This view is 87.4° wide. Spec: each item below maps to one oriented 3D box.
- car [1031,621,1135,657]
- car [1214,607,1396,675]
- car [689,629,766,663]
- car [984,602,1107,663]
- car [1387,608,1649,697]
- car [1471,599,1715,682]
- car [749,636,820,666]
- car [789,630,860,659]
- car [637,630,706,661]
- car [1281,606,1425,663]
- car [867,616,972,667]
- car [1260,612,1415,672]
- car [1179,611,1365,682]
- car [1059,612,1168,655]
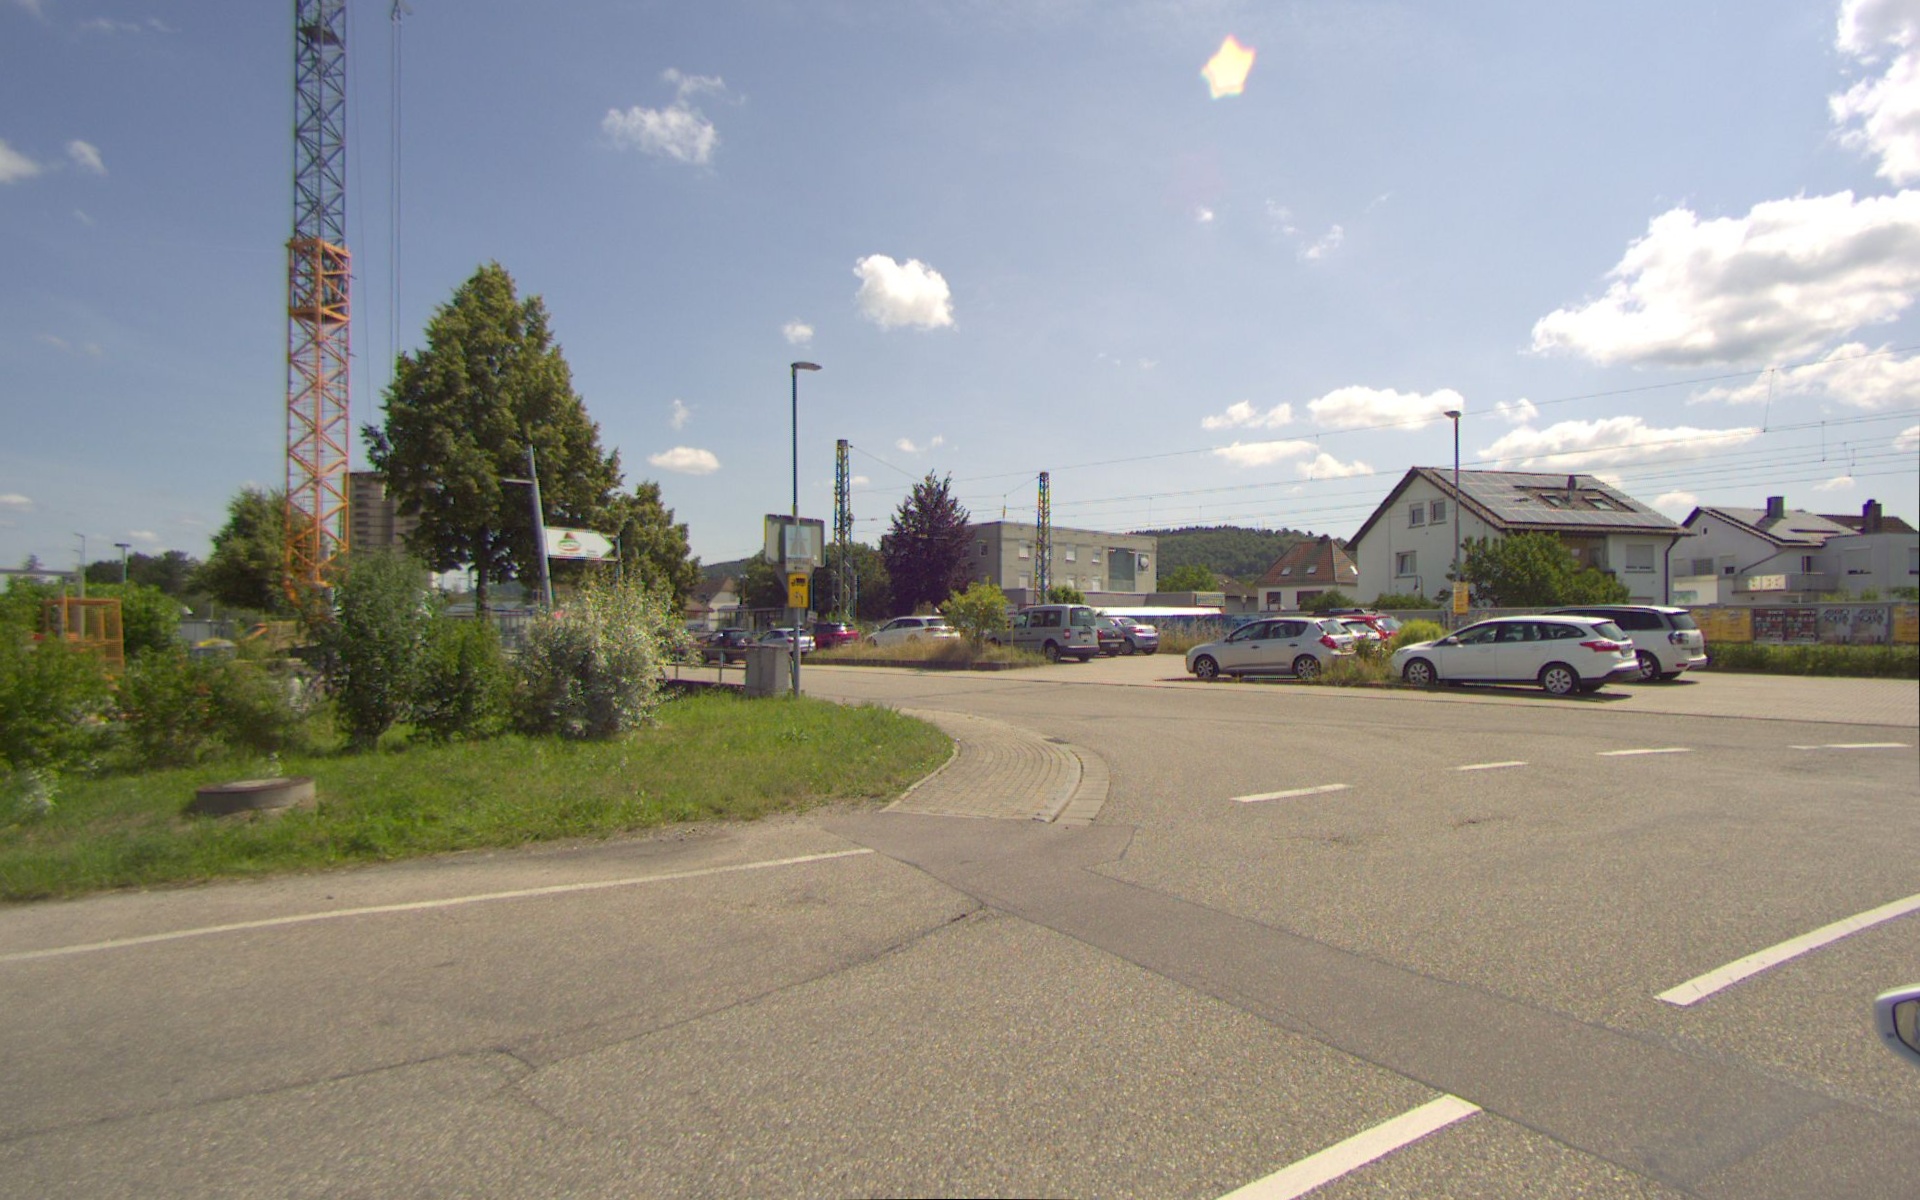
[{"bbox_3d":[4.362,1.367,36.029,1.659,1.238,3.631,1,-2,-39],"label":"car"},{"bbox_3d":[9.050,1.107,26.564,4.118,1.660,1.943,-4,-4,44],"label":"car"},{"bbox_3d":[-10.555,2.034,45.413,1.813,1.477,3.954,1,-2,-40],"label":"car"},{"bbox_3d":[2.807,1.018,33.624,1.890,1.840,3.952,0,1,-41],"label":"car"},{"bbox_3d":[11.125,0.978,20.257,1.813,1.496,4.245,2,0,-41],"label":"car"},{"bbox_3d":[14.606,0.866,23.388,1.982,1.713,4.418,-1,0,-38],"label":"car"},{"bbox_3d":[-8.163,2.332,46.553,1.522,1.331,3.954,1,-2,-40],"label":"car"},{"bbox_3d":[-6.488,2.090,47.802,1.522,1.331,3.954,1,-2,-40],"label":"car"},{"bbox_3d":[-14.824,2.293,51.433,1.877,1.522,3.951,1,-2,-42],"label":"car"},{"bbox_3d":[11.810,1.017,30.335,1.487,1.610,3.793,1,-2,-44],"label":"car"},{"bbox_3d":[-1.631,1.586,39.232,3.947,1.916,1.987,-1,-2,45],"label":"car"},{"bbox_3d":[10.544,1.144,28.236,1.682,1.579,3.748,1,-2,-42],"label":"car"},{"bbox_3d":[7.540,1.074,24.489,3.957,1.582,1.812,-1,-2,43],"label":"car"},{"bbox_3d":[5.724,1.217,37.800,1.669,1.439,3.956,2,0,-38],"label":"car"}]
